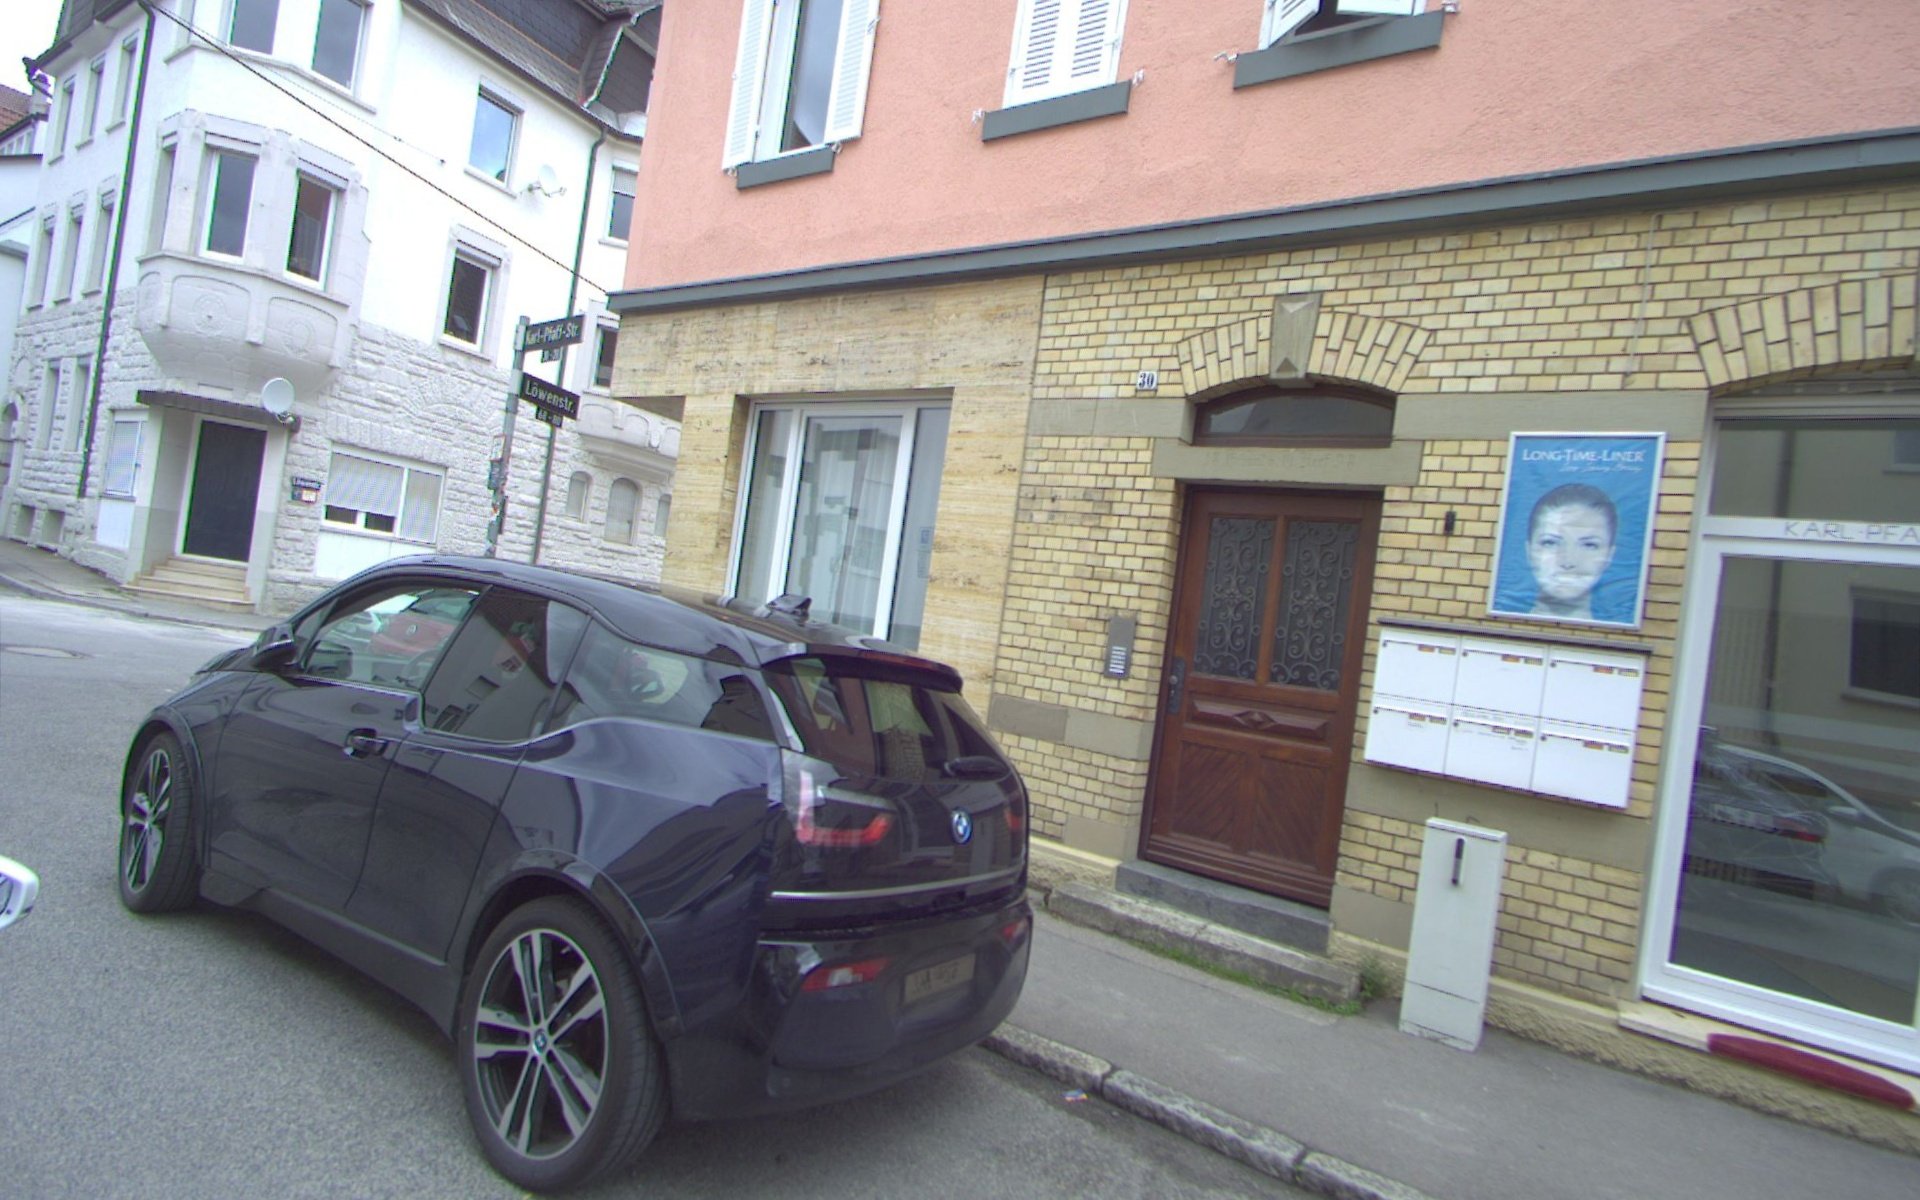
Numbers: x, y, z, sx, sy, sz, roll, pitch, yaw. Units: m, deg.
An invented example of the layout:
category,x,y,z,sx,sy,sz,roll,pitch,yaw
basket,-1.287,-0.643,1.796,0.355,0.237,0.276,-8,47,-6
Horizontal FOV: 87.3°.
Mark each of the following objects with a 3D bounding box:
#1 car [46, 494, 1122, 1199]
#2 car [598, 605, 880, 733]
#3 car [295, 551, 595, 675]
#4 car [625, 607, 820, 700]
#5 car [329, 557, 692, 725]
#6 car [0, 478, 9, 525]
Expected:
category,x,y,z,sx,sy,sz,roll,pitch,yaw
car,-1.639,0.639,3.982,3.961,1.560,1.822,7,-3,33
car,-3.307,1.189,15.957,1.826,1.418,4.293,10,-3,29
car,-8.559,0.307,17.172,1.675,1.429,4.243,8,-4,27
car,-5.249,1.286,22.843,1.818,1.531,4.243,8,-3,27
car,-5.209,0.598,12.161,1.644,1.495,3.628,8,-3,27
car,-17.027,-1.464,15.922,3.961,1.616,1.825,9,-2,33
